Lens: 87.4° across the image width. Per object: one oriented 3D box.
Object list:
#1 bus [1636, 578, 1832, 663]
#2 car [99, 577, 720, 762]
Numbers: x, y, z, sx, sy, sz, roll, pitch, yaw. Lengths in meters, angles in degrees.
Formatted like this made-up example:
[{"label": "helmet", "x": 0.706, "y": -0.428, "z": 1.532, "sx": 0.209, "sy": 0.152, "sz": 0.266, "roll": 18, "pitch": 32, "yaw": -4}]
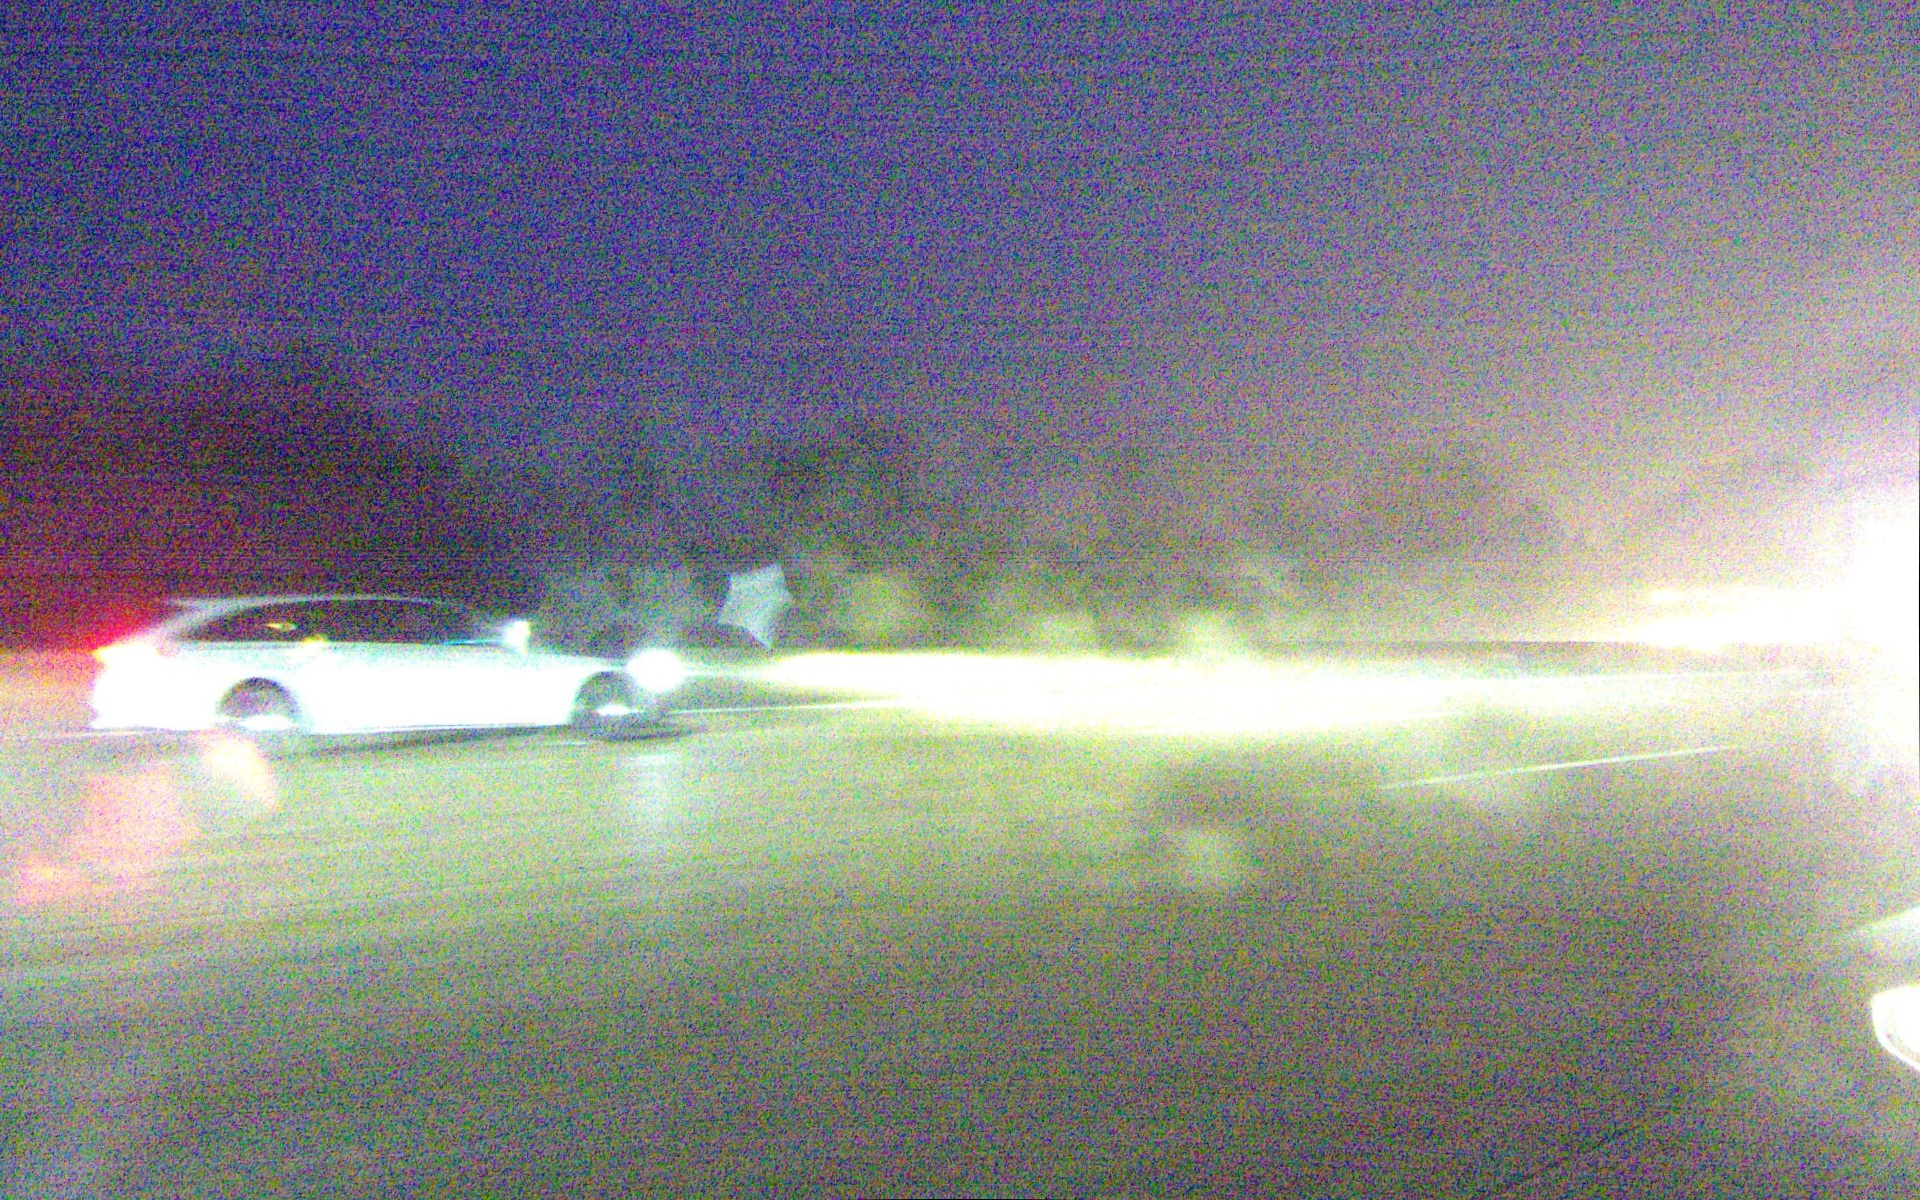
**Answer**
[{"label": "bus", "x": 46.072, "y": 1.293, "z": 59.396, "sx": 16.814, "sy": 4.550, "sz": 3.059, "roll": 2, "pitch": 0, "yaw": -30}, {"label": "car", "x": -5.281, "y": 0.614, "z": 10.326, "sx": 5.106, "sy": 1.496, "sz": 1.983, "roll": 2, "pitch": 0, "yaw": -31}]
